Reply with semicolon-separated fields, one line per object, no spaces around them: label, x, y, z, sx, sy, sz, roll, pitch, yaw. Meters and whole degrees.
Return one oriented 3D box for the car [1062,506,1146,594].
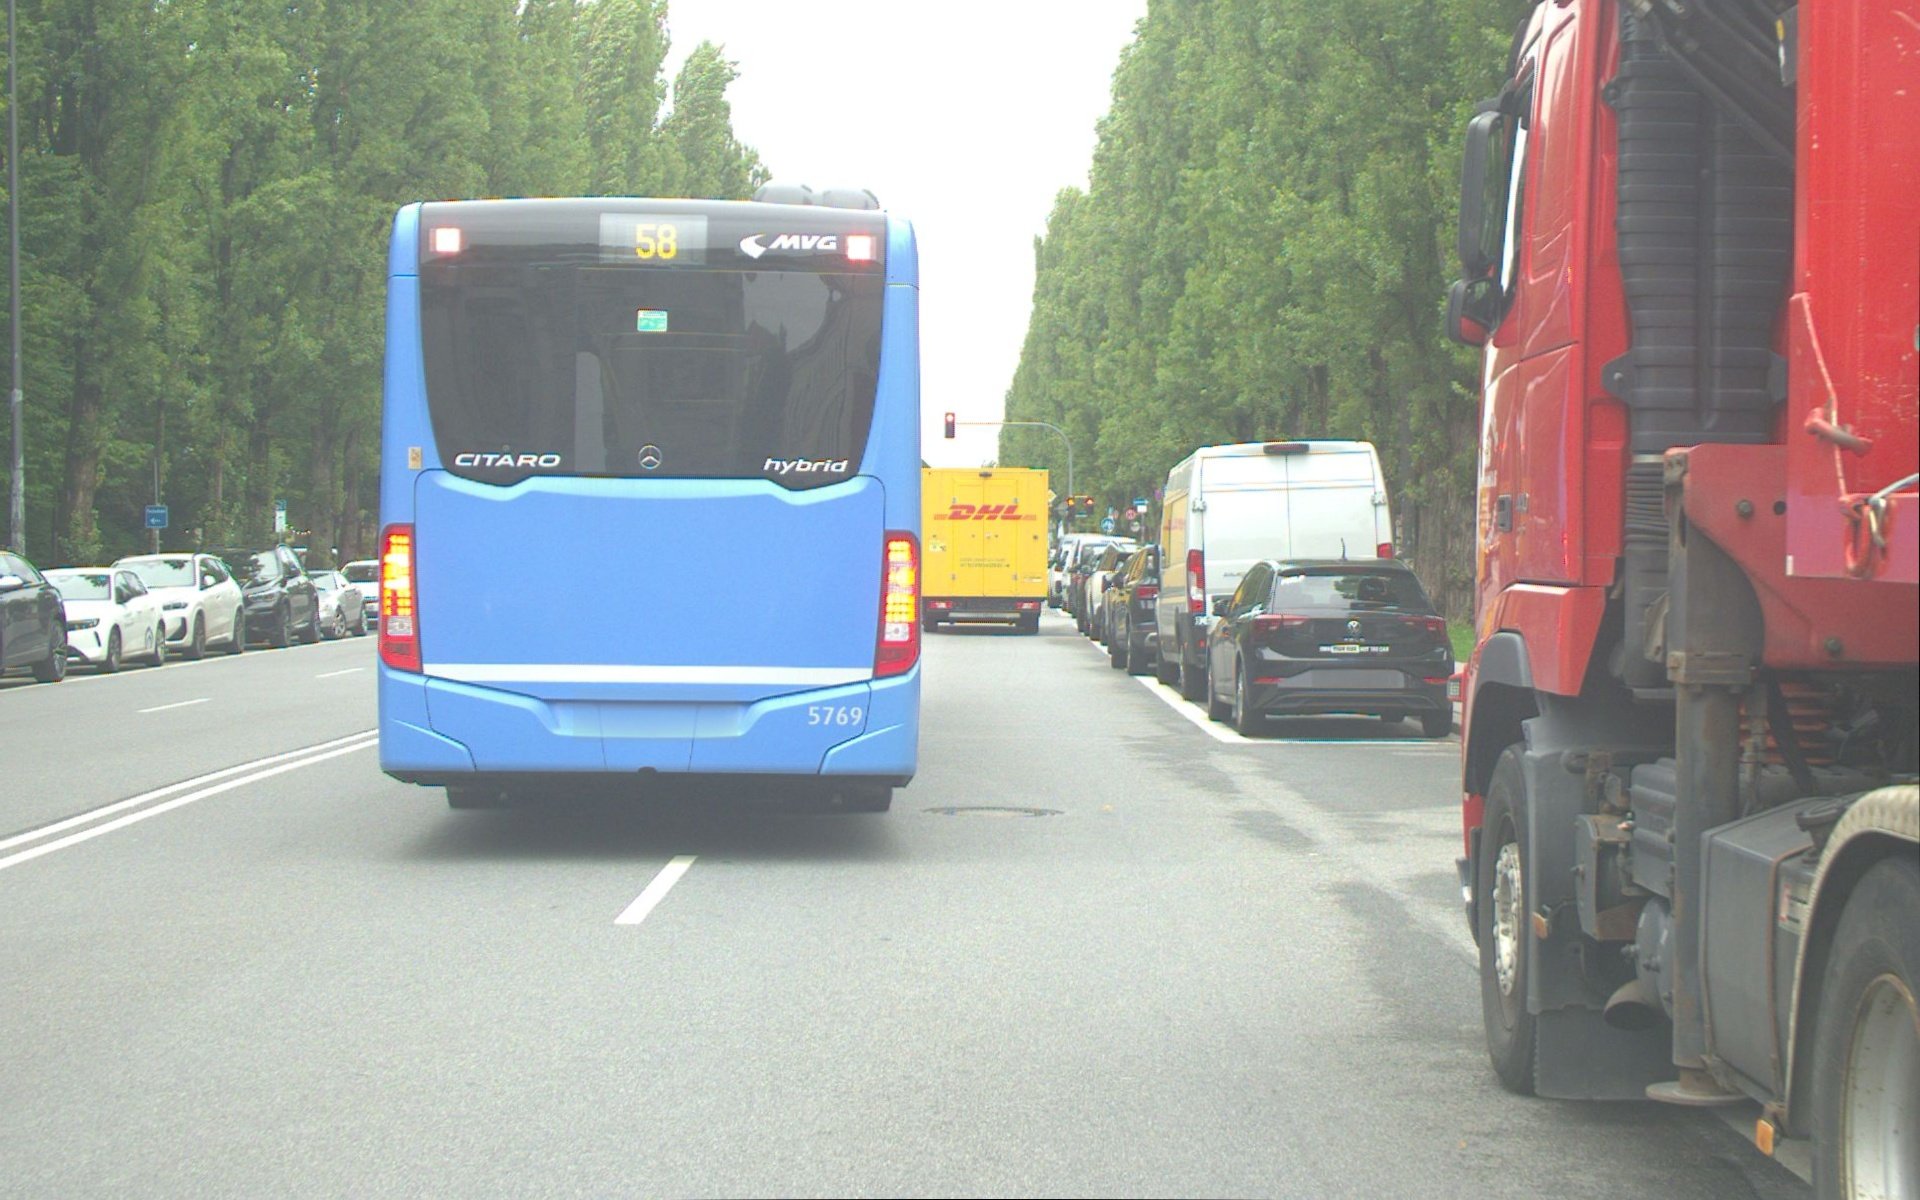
car;3.305;-1.161;79.497;1.806;1.969;4.236;0;1;1

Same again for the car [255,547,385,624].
car;-11.908;-0.287;64.164;1.580;1.300;4.029;-2;1;1

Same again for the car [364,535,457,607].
car;-12.320;-0.674;77.274;1.743;1.513;4.119;-2;1;-5

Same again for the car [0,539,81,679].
car;-11.938;0.127;40.487;1.815;1.603;5.053;-3;1;0

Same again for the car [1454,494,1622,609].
car;10.071;-0.859;60.270;1.993;1.919;5.324;0;1;-1

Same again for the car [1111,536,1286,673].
car;2.868;0.011;42.178;1.821;1.585;4.223;0;1;0

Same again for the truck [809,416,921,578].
truck;-2.466;-2.611;88.512;2.715;3.951;9.219;0;1;-2

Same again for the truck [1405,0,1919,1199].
truck;2.753;-0.200;5.796;2.713;3.099;10.427;-1;1;1

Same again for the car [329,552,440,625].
car;-12.170;-0.265;72.879;1.685;1.408;4.005;-2;1;-1

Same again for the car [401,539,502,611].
car;-12.108;-0.619;82.033;1.814;1.637;4.000;0;1;0

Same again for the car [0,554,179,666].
car;-12.099;0.107;47.325;1.676;1.417;4.237;-2;1;0

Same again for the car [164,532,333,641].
car;-12.017;-0.265;58.320;1.880;1.652;4.718;-3;1;-1

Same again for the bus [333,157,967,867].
bus;-1.575;-0.491;20.095;2.855;3.202;9.061;0;1;-2

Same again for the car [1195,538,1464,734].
car;3.013;0.247;28.738;1.754;1.445;4.000;2;1;0

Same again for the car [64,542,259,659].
car;-12.074;-0.034;52.246;1.785;1.583;4.461;-2;1;1

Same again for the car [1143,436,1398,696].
car;3.144;-0.392;36.128;2.074;2.470;6.284;1;1;0

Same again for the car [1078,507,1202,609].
car;2.957;-0.714;57.292;1.781;1.576;4.147;2;1;0

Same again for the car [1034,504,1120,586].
car;2.956;-1.419;87.727;2.052;2.007;5.692;0;1;1

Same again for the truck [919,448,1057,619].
truck;0.448;-1.196;61.770;2.327;2.888;7.333;0;1;0
